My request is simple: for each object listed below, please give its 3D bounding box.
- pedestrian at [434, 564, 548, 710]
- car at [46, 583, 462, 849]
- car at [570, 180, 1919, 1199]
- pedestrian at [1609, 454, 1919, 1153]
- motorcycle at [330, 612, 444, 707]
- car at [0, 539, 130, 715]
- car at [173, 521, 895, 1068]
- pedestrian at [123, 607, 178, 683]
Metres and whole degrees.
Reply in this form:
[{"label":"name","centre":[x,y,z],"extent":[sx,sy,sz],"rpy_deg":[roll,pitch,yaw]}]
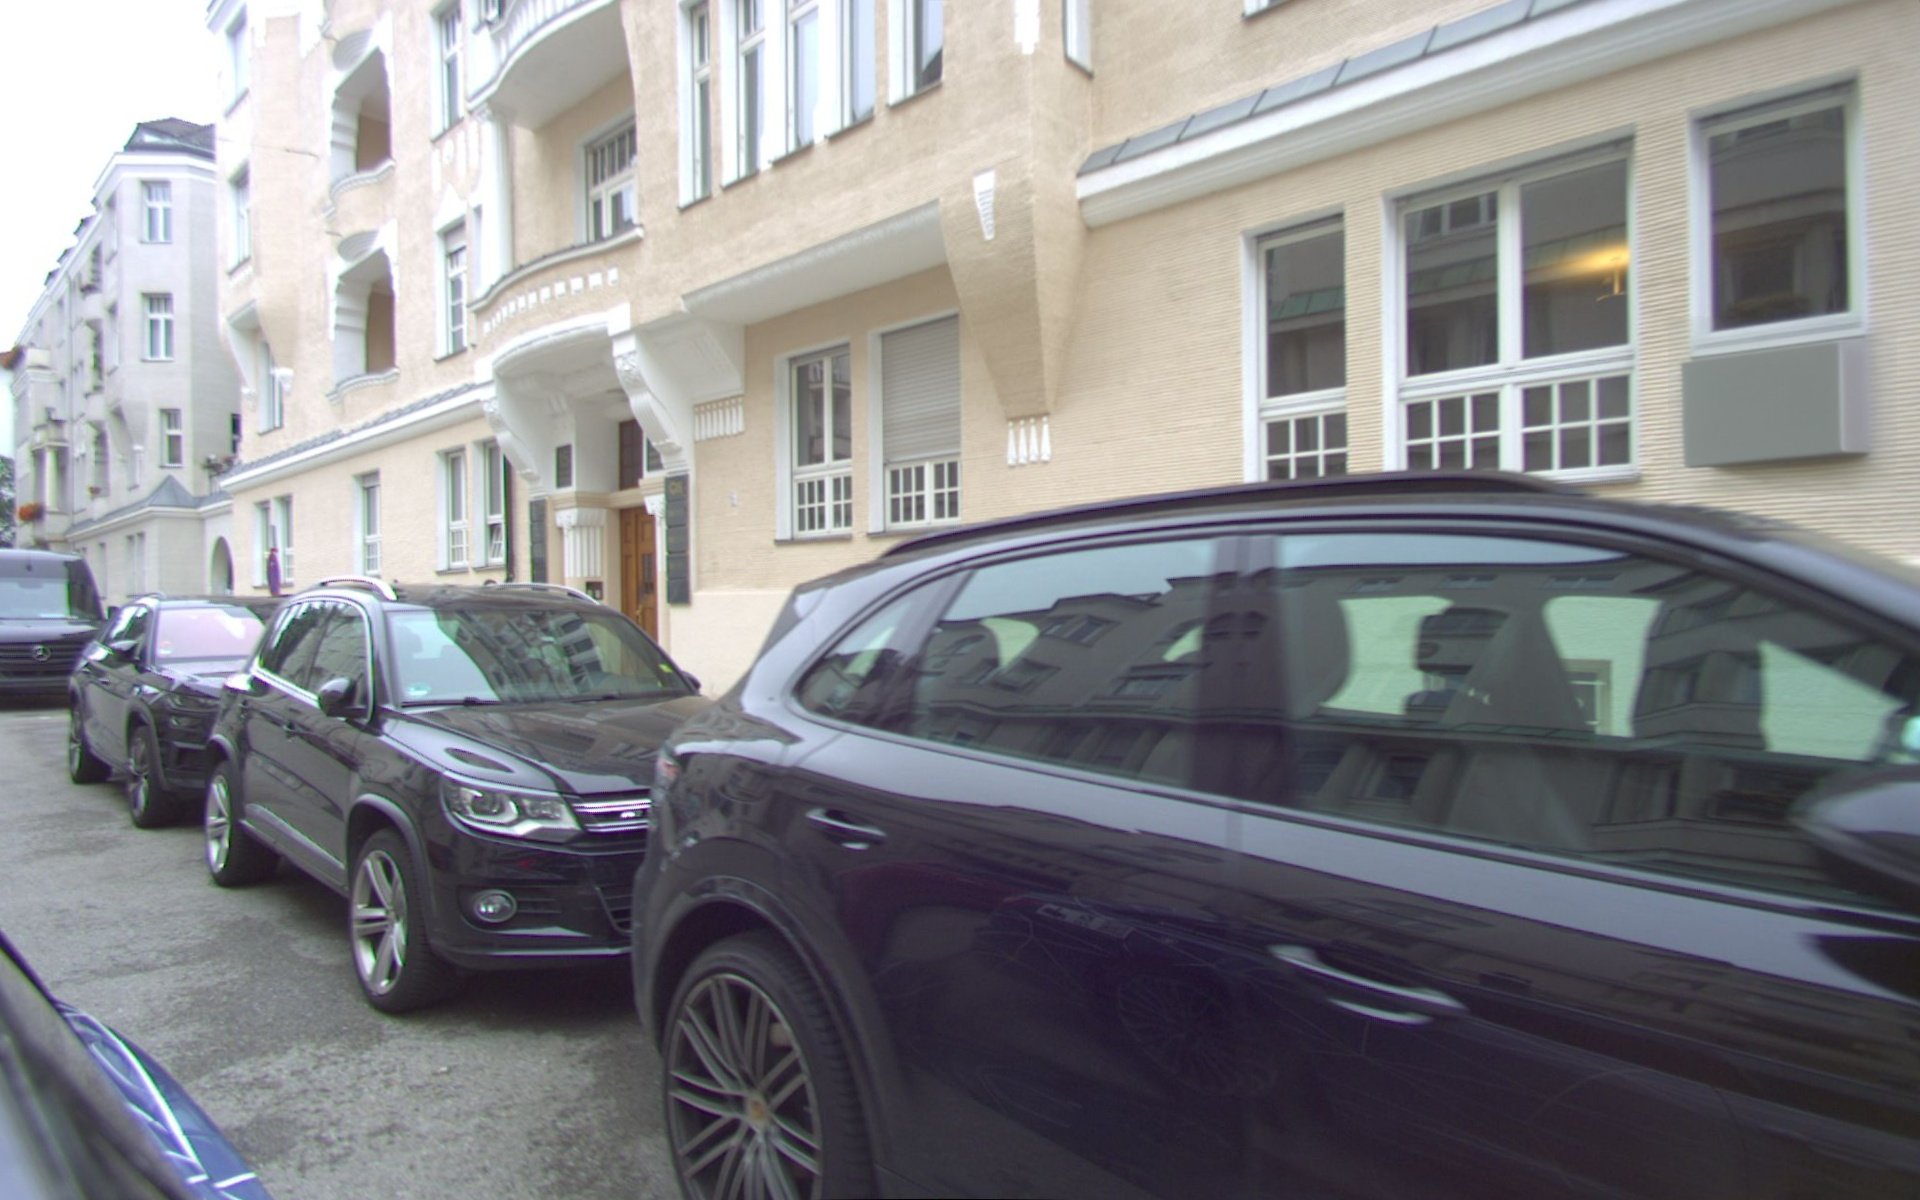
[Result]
[{"label":"pedestrian","centre":[-5.903,0.440,12.745],"extent":[0.939,1.742,0.982],"rpy_deg":[-1,0,41]},{"label":"car","centre":[-6.086,0.740,8.500],"extent":[4.458,1.661,1.853],"rpy_deg":[-1,0,41]},{"label":"car","centre":[1.278,0.482,1.708],"extent":[1.928,1.671,4.620],"rpy_deg":[-1,0,-44]},{"label":"pedestrian","centre":[2.519,0.524,3.118],"extent":[0.740,1.803,0.826],"rpy_deg":[-1,0,41]},{"label":"motorcycle","centre":[-9.314,0.918,16.397],"extent":[2.513,1.406,0.818],"rpy_deg":[-1,0,41]},{"label":"car","centre":[-16.198,0.446,17.438],"extent":[5.677,2.641,2.076],"rpy_deg":[-1,-2,42]},{"label":"car","centre":[-2.390,0.602,5.071],"extent":[4.100,1.655,1.713],"rpy_deg":[-1,0,41]},{"label":"pedestrian","centre":[-17.038,0.933,21.293],"extent":[1.015,1.534,0.705],"rpy_deg":[-1,0,41]}]
